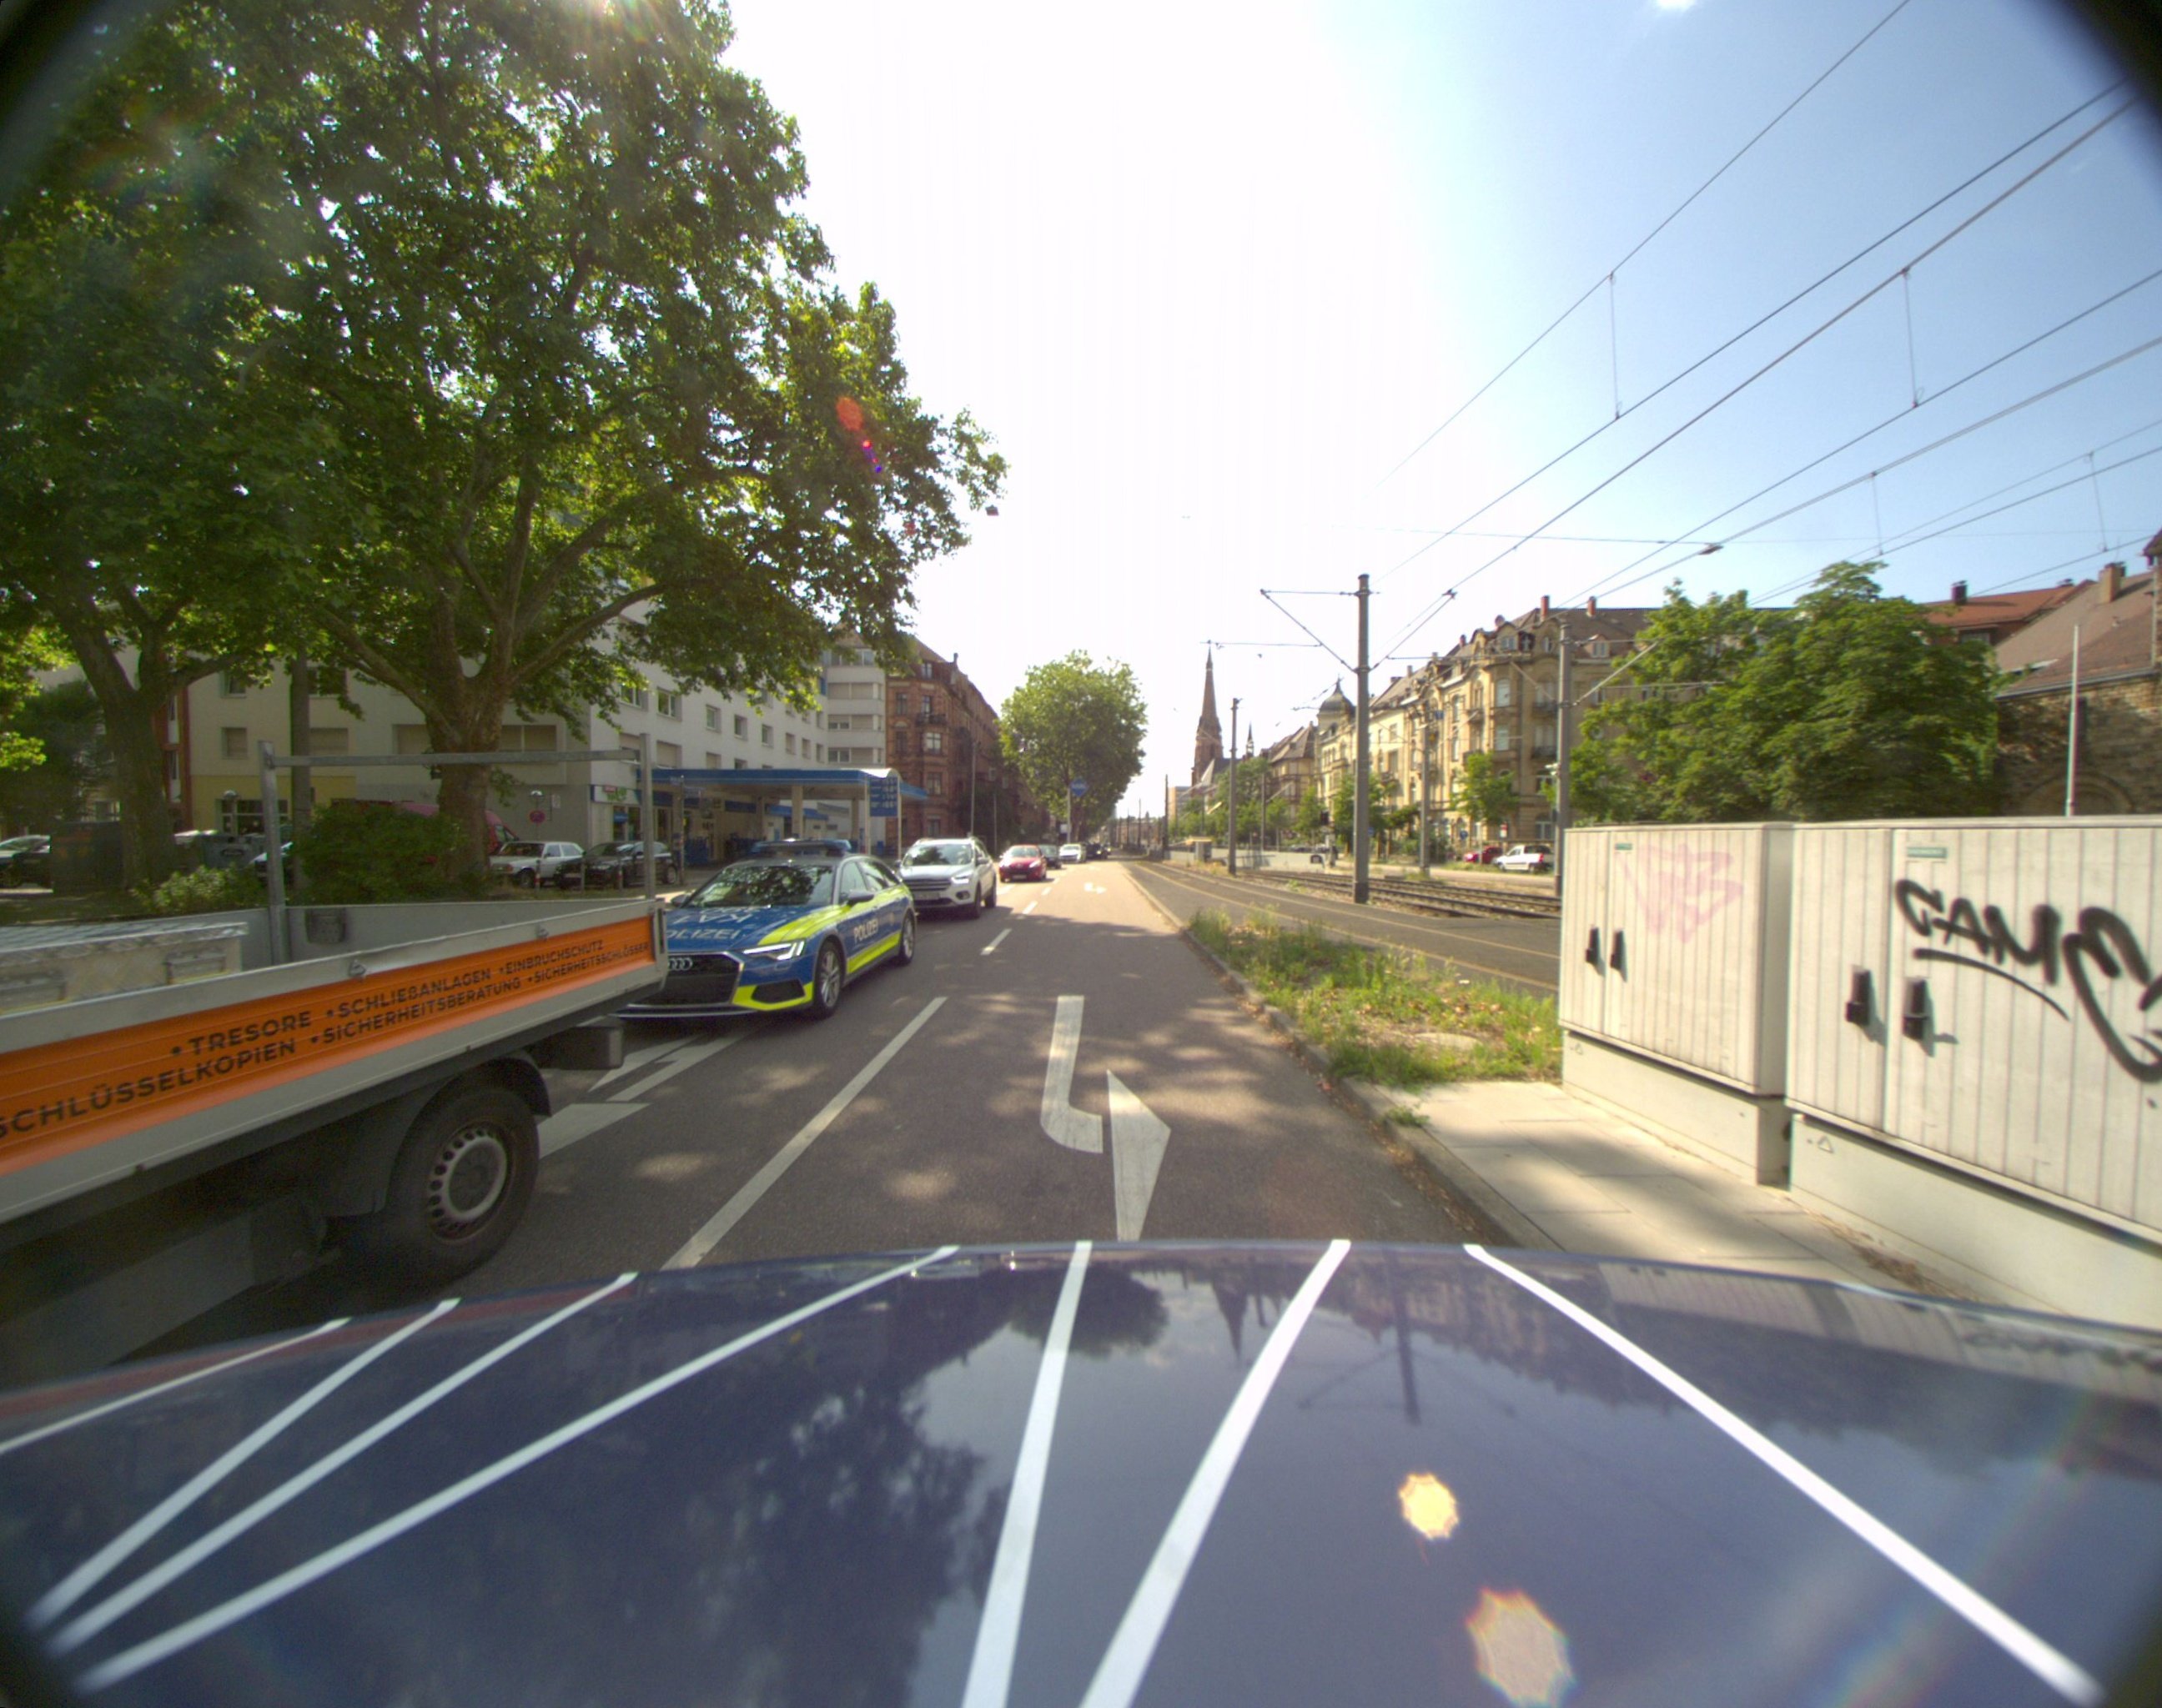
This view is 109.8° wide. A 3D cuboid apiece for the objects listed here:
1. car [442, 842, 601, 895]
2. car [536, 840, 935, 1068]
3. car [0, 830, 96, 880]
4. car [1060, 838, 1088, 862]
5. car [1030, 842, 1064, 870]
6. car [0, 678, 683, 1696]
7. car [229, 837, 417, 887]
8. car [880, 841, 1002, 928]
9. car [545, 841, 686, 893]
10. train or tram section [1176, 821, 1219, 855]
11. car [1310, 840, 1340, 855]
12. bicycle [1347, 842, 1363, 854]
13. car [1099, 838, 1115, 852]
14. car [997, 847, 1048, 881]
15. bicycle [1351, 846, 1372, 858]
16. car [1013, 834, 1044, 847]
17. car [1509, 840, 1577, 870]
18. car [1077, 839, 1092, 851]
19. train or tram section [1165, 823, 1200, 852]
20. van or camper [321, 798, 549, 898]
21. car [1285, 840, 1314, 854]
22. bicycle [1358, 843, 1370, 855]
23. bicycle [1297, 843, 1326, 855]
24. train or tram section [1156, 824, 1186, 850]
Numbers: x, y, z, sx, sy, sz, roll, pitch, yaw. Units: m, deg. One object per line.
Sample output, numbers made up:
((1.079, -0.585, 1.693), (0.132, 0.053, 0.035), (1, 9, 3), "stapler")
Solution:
((-16.541, 0.359, 22.743), (1.757, 1.402, 3.999), (0, 2, 0), "car")
((-3.111, 0.713, 8.327), (1.871, 1.643, 5.152), (-1, 2, 1), "car")
((-33.673, 0.047, 23.272), (1.663, 1.511, 3.999), (-2, 2, 0), "car")
((-0.477, -0.324, 56.849), (1.952, 1.598, 5.073), (0, 3, 1), "car")
((-1.932, 0.052, 44.248), (1.764, 1.491, 4.186), (0, 2, 1), "car")
((-3.143, 0.660, 1.231), (2.080, 1.976, 5.333), (0, 3, 1), "car")
((-22.237, 0.183, 22.546), (1.477, 1.286, 3.999), (-2, 2, 0), "car")
((-2.933, 0.554, 16.954), (1.764, 1.597, 4.678), (-2, 1, 1), "car")
((-13.809, 0.319, 22.848), (1.757, 1.402, 3.999), (0, 2, 0), "car")
((13.018, -1.801, 85.819), (2.860, 3.560, 12.831), (0, 1, 0), "train or tram section")
((24.556, -0.682, 76.608), (1.690, 1.494, 4.707), (0, 2, 2), "car")
((28.055, -0.624, 77.800), (0.659, 1.241, 2.942), (-3, 1, 1), "bicycle")
((3.029, -1.089, 90.179), (1.764, 1.491, 4.186), (0, 2, 1), "car")
((-2.288, 0.365, 30.602), (1.620, 1.182, 3.633), (0, 2, 2), "car")
((24.958, -0.193, 67.526), (1.711, 1.063, 0.471), (0, 2, -5), "bicycle")
((-7.818, -2.007, 113.185), (4.413, 1.907, 1.999), (0, 2, 0), "car")
((24.458, 0.022, 40.368), (1.671, 1.408, 3.846), (2, 2, 9), "car")
((0.437, -1.120, 90.542), (1.500, 1.296, 3.491), (-2, 2, 3), "car")
((13.025, -2.149, 98.669), (2.860, 3.560, 12.831), (0, 1, 0), "train or tram section")
((-19.384, -0.232, 23.266), (2.107, 2.626, 5.348), (-2, 2, 2), "van or camper")
((24.846, -0.795, 86.622), (1.803, 1.518, 4.487), (-2, 2, -2), "car")
((27.904, -0.485, 74.950), (0.428, 1.133, 2.023), (-3, 1, 1), "bicycle")
((25.189, -0.565, 83.103), (2.957, 1.239, 0.792), (0, 2, -12), "bicycle")
((13.130, -2.532, 111.487), (2.860, 3.560, 12.831), (0, 1, 0), "train or tram section")
